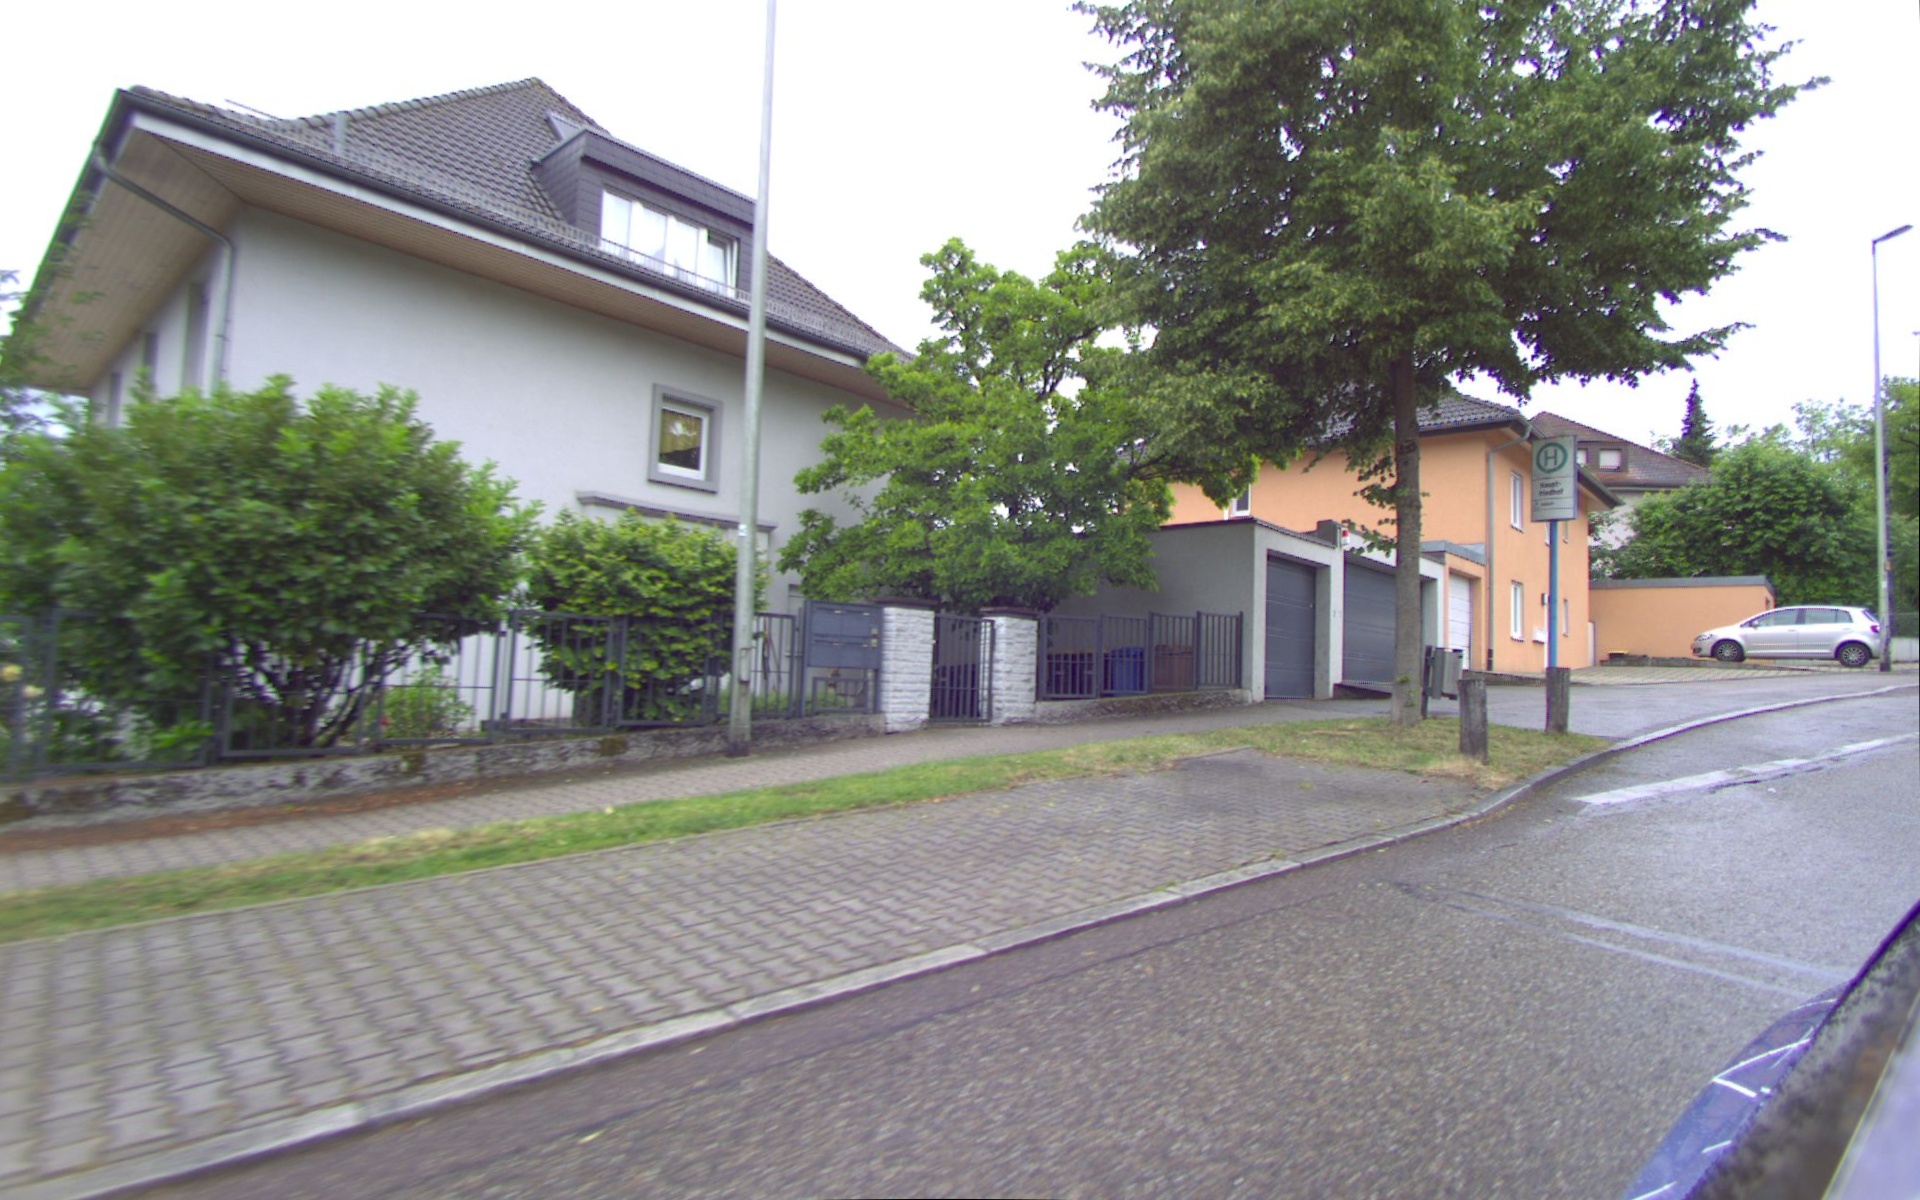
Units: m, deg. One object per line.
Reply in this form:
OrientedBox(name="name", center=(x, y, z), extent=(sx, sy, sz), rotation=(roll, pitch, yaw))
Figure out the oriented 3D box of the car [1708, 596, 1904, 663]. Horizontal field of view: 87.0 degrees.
OrientedBox(name="car", center=(22.313, 0.739, 26.785), extent=(3.859, 1.586, 1.699), rotation=(2, 0, 44))
